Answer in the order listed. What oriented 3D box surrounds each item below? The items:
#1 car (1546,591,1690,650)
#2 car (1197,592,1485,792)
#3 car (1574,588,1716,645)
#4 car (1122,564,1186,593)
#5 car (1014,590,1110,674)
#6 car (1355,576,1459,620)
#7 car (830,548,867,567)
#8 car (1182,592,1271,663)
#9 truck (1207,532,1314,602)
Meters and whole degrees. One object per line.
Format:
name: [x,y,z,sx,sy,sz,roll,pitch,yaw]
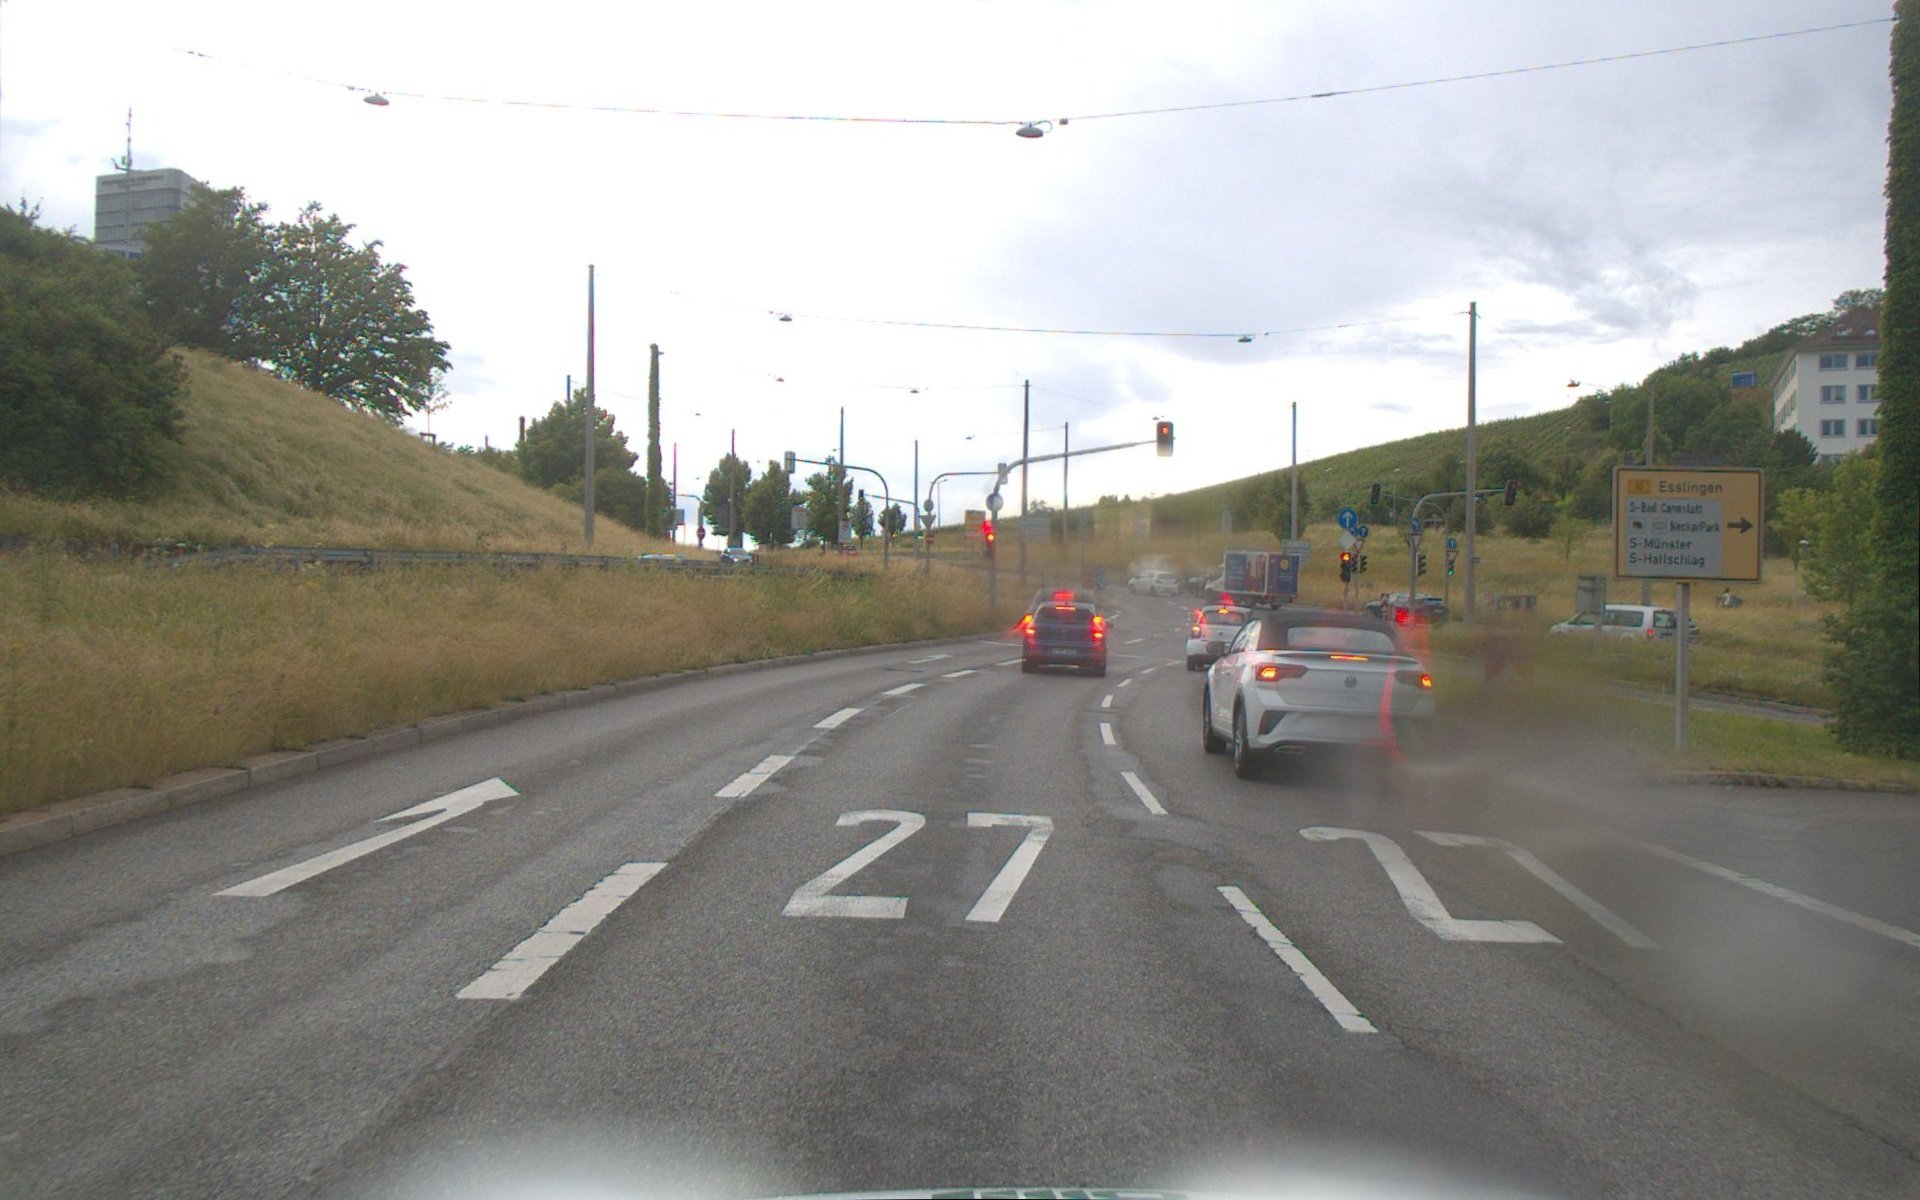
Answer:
car: [23.261,0.680,58.614,1.972,1.741,4.520,-1,4,-29]
car: [3.583,0.783,16.342,1.954,1.606,4.127,3,1,2]
car: [25.172,0.574,60.946,1.972,1.741,4.621,-1,4,-29]
car: [11.762,-1.312,100.416,1.965,1.526,4.536,-1,4,-21]
car: [2.160,0.653,35.017,1.886,1.627,4.063,1,0,4]
car: [21.070,-0.126,78.082,1.977,1.741,4.508,-2,4,-35]
car: [-10.314,-3.957,153.378,1.968,1.741,4.528,-1,2,-25]
car: [6.545,0.641,40.350,1.737,1.545,3.727,3,1,14]
truck: [16.334,-1.874,90.411,2.810,3.587,6.193,-1,4,-23]
